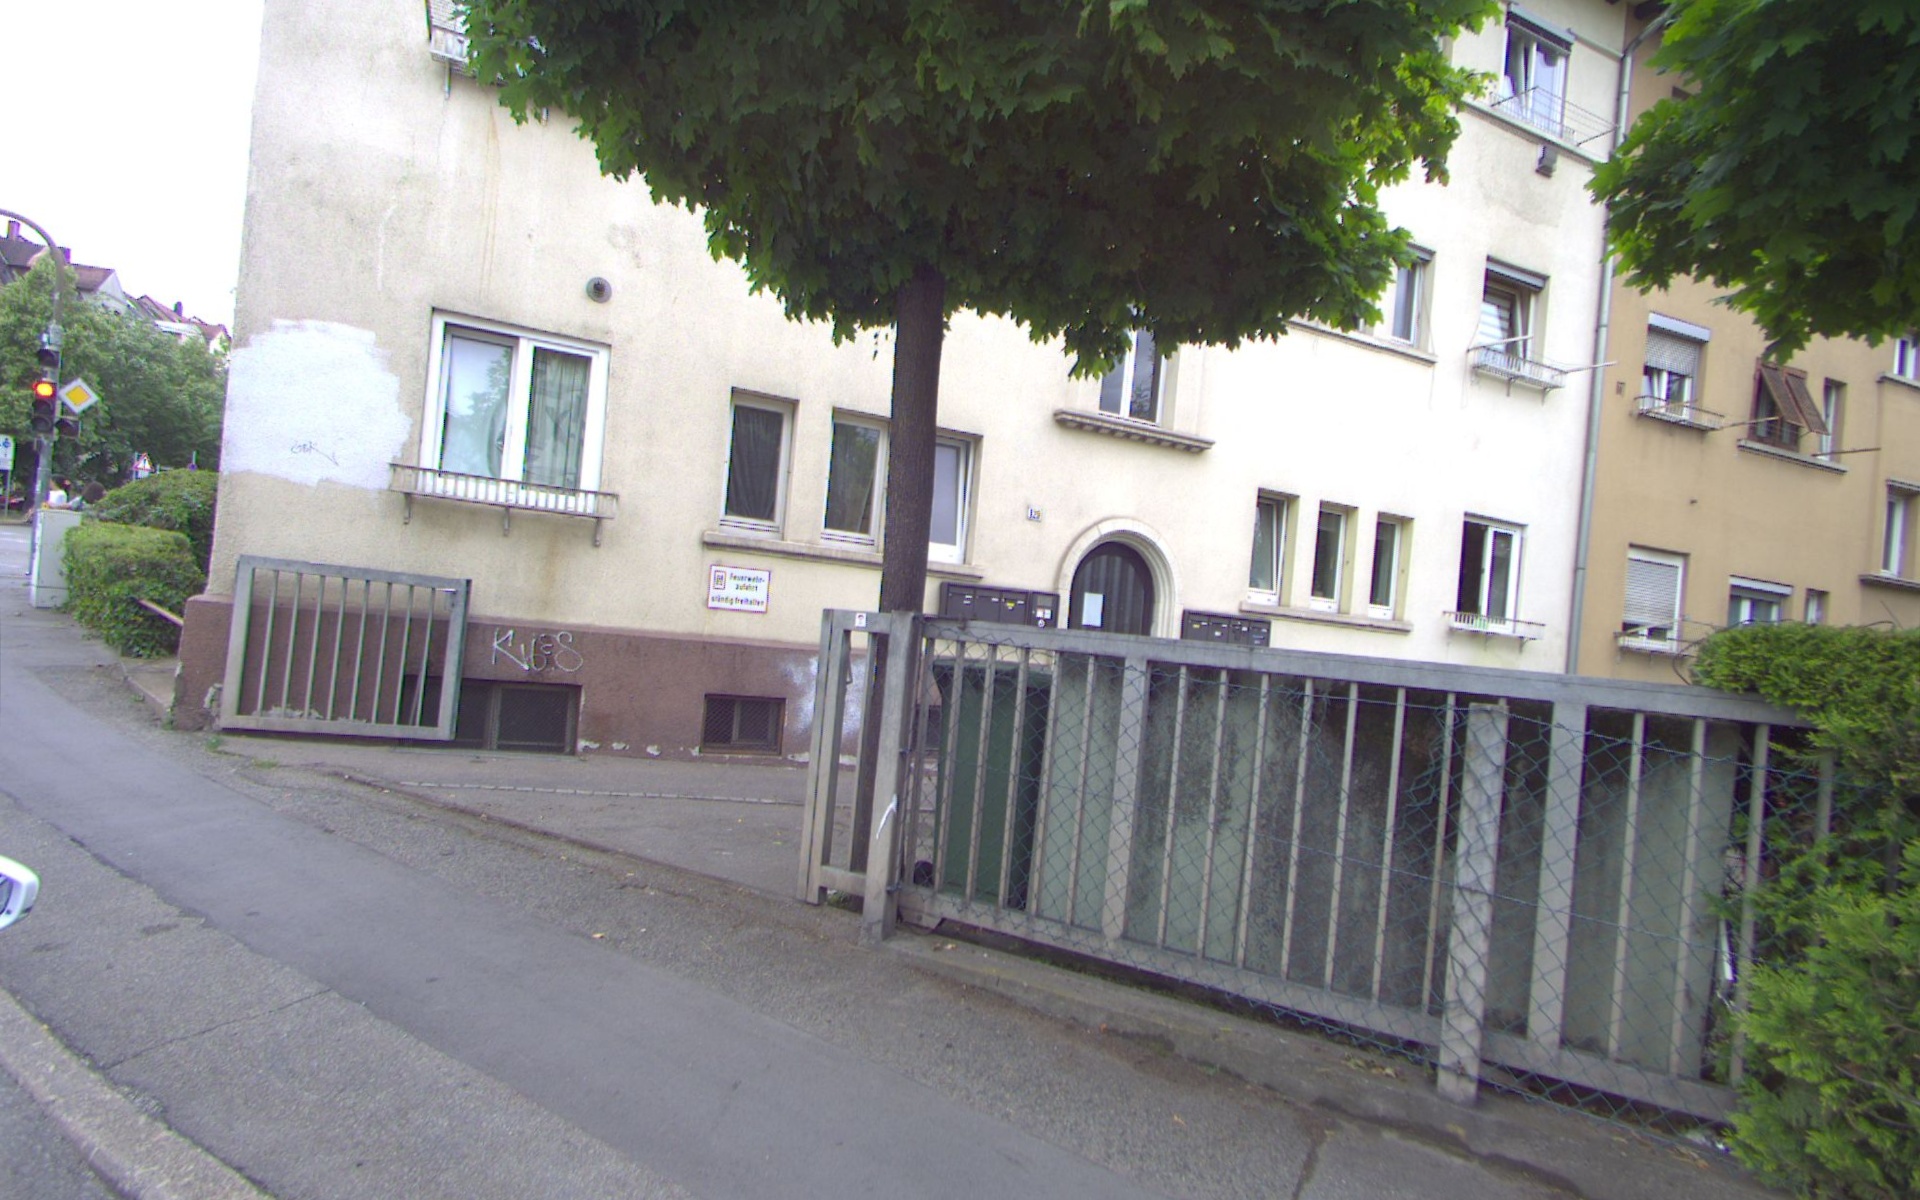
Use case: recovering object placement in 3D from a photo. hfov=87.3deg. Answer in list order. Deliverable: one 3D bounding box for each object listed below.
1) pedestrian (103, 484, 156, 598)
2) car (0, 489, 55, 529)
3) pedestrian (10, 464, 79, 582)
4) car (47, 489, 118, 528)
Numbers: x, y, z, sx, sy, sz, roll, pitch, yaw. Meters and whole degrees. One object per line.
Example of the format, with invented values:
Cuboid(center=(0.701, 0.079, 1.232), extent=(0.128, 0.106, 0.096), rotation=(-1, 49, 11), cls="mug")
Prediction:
Cuboid(center=(-14.113, -0.993, 17.096), extent=(0.462, 1.857, 0.320), rotation=(9, -2, -44), cls="pedestrian")
Cuboid(center=(-60.963, -5.948, 64.943), extent=(1.970, 2.036, 3.992), rotation=(8, -3, -15), cls="car")
Cuboid(center=(-15.140, -1.262, 16.634), extent=(0.522, 1.840, 0.589), rotation=(6, -2, 42), cls="pedestrian")
Cuboid(center=(-62.434, -6.492, 71.670), extent=(1.970, 2.036, 3.992), rotation=(8, -3, -15), cls="car")
